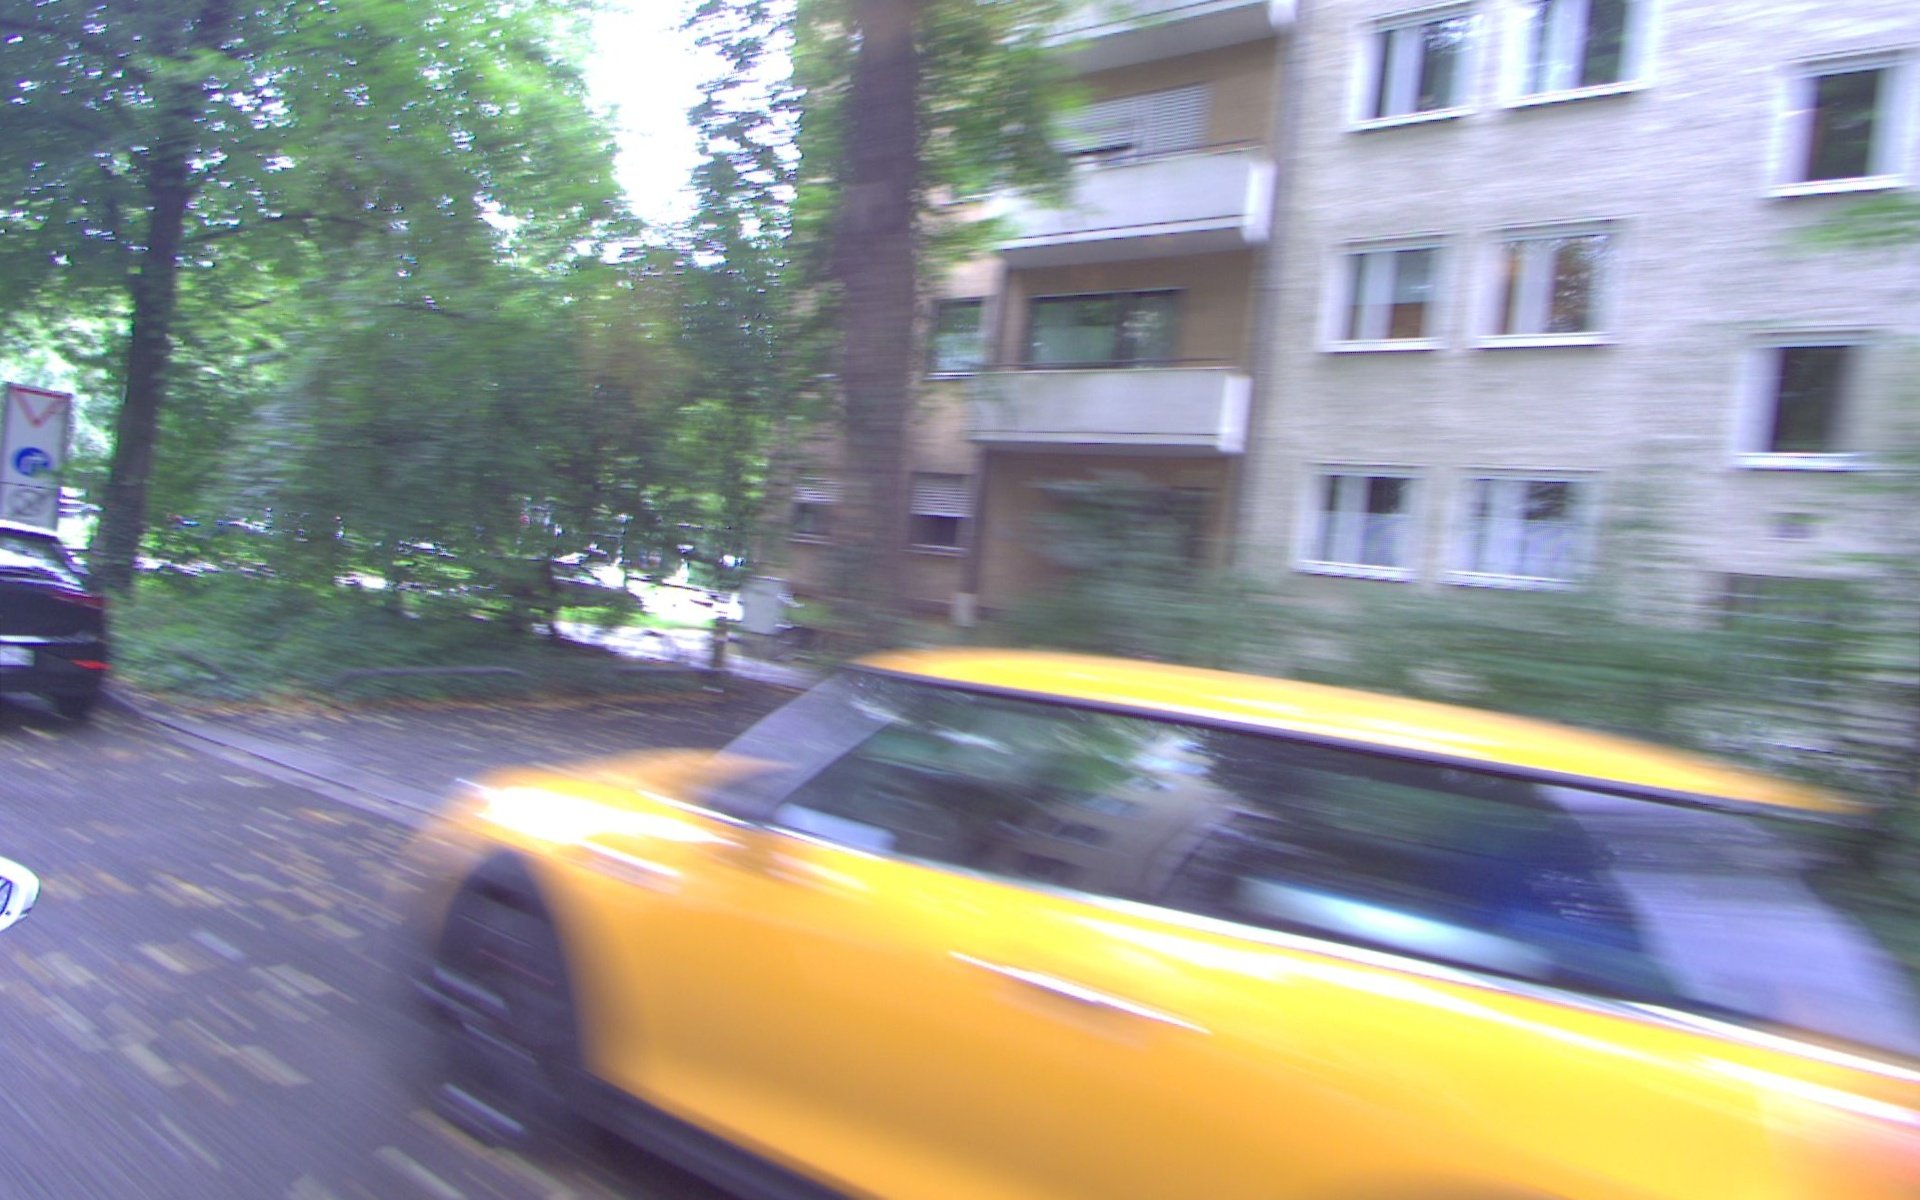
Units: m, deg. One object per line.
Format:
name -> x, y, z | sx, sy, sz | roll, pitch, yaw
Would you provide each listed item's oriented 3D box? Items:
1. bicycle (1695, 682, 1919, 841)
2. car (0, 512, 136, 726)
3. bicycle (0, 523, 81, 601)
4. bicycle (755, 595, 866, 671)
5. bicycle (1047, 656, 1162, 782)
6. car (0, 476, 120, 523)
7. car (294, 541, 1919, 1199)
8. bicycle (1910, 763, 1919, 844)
bicycle -> 8.367, 1.545, 9.922 | 1.649, 1.239, 0.449 | 7, 1, 33
car -> -8.102, -0.057, 7.585 | 3.943, 1.374, 1.684 | 7, 0, 32
bicycle -> -13.106, -0.553, 13.611 | 0.269, 0.994, 1.749 | 7, 1, 41
bicycle -> -2.515, 0.542, 16.791 | 1.806, 1.057, 0.554 | 7, 1, 31
bicycle -> 1.499, 1.148, 10.184 | 0.537, 1.097, 1.834 | 7, 1, 25
car -> -42.513, -4.693, 46.642 | 1.964, 1.585, 5.041 | 7, 0, 25
car -> 0.083, 0.783, 2.771 | 3.716, 1.430, 1.621 | 7, 0, 30
bicycle -> 9.803, 1.753, 9.054 | 1.649, 1.239, 0.449 | 7, 1, 33
